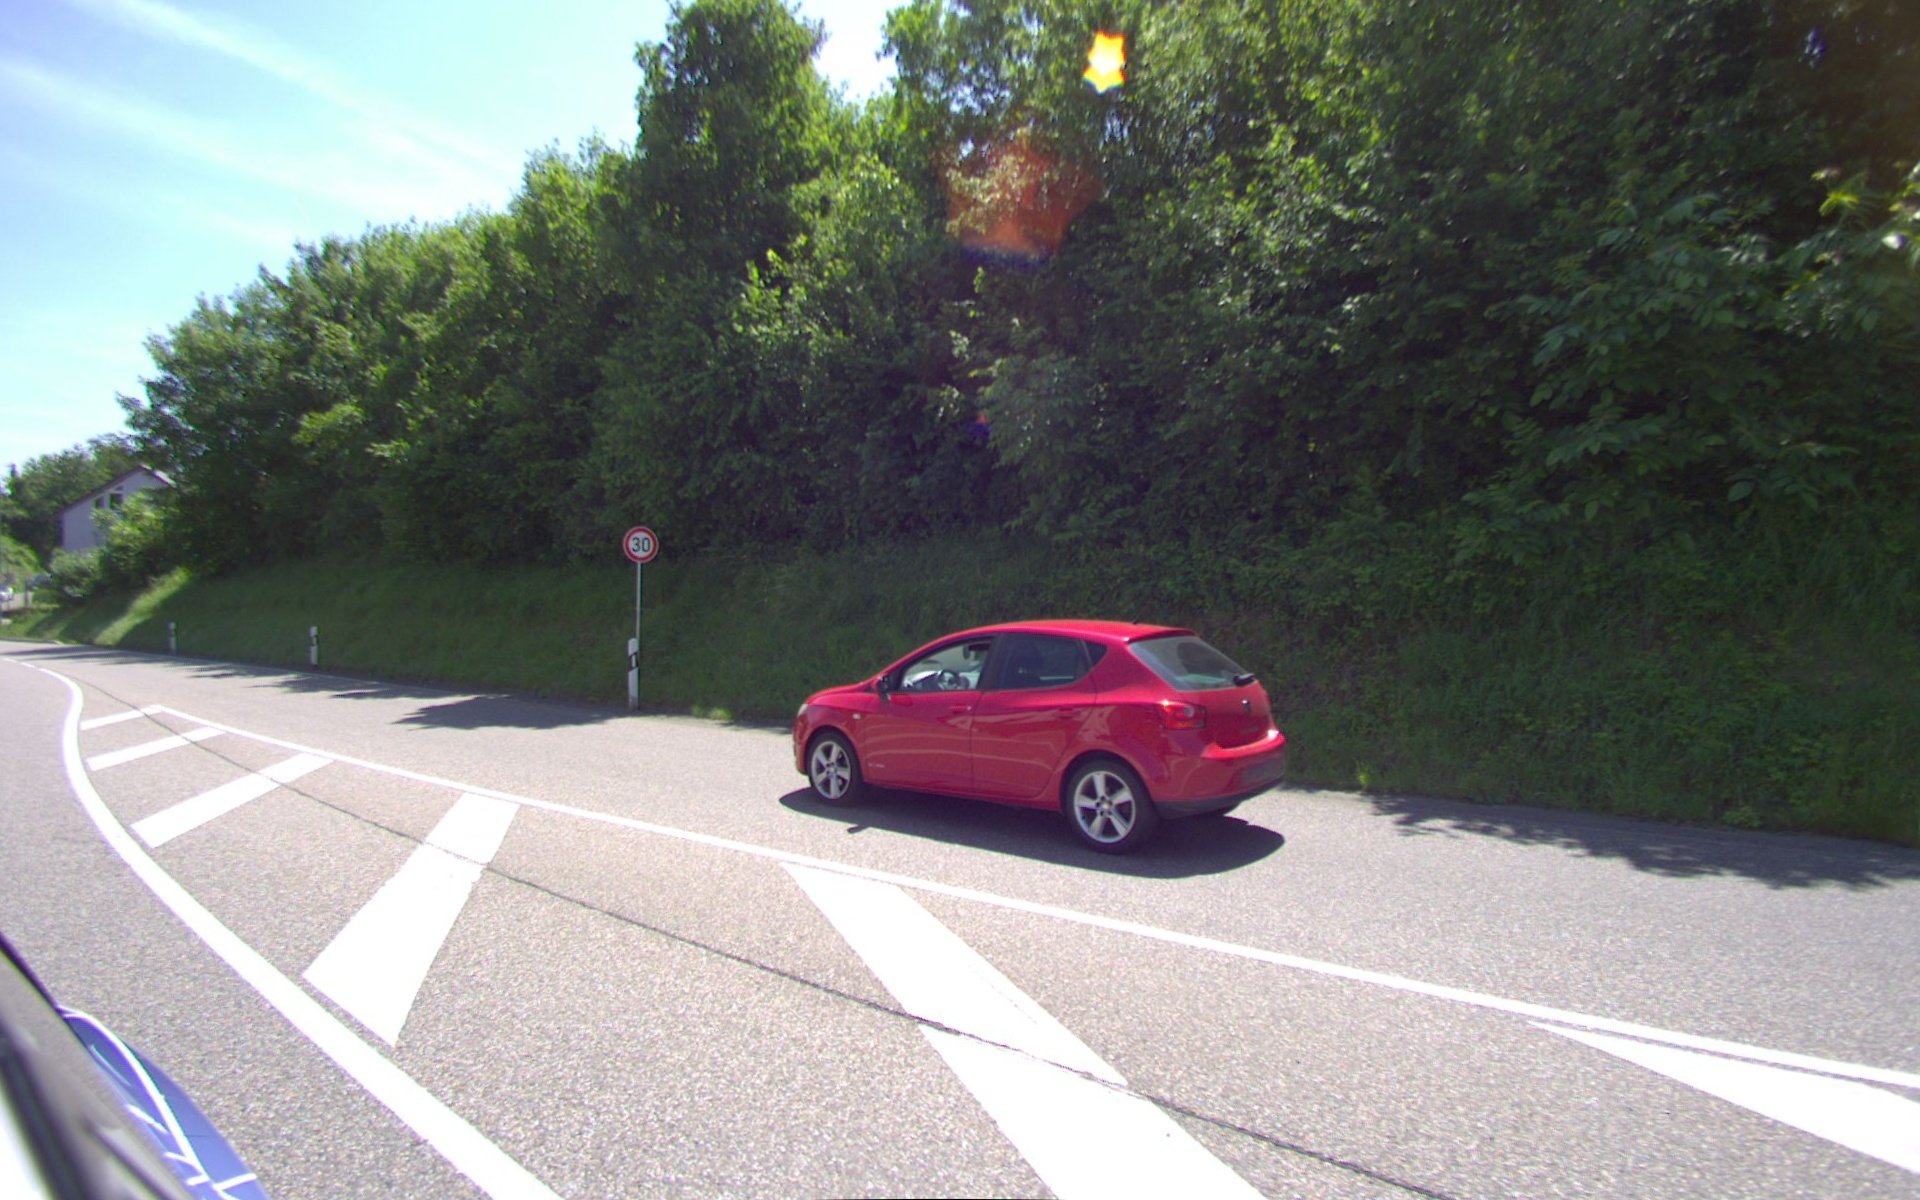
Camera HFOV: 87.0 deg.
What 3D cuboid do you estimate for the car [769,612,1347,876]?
[{"bbox_3d":[0.567,0.848,7.541,3.995,1.459,1.733,-2,-2,38],"label":"car"}]

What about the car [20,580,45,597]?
[{"bbox_3d":[-91.879,-1.177,100.195,1.725,1.399,4.005,-3,6,-43],"label":"car"}]
